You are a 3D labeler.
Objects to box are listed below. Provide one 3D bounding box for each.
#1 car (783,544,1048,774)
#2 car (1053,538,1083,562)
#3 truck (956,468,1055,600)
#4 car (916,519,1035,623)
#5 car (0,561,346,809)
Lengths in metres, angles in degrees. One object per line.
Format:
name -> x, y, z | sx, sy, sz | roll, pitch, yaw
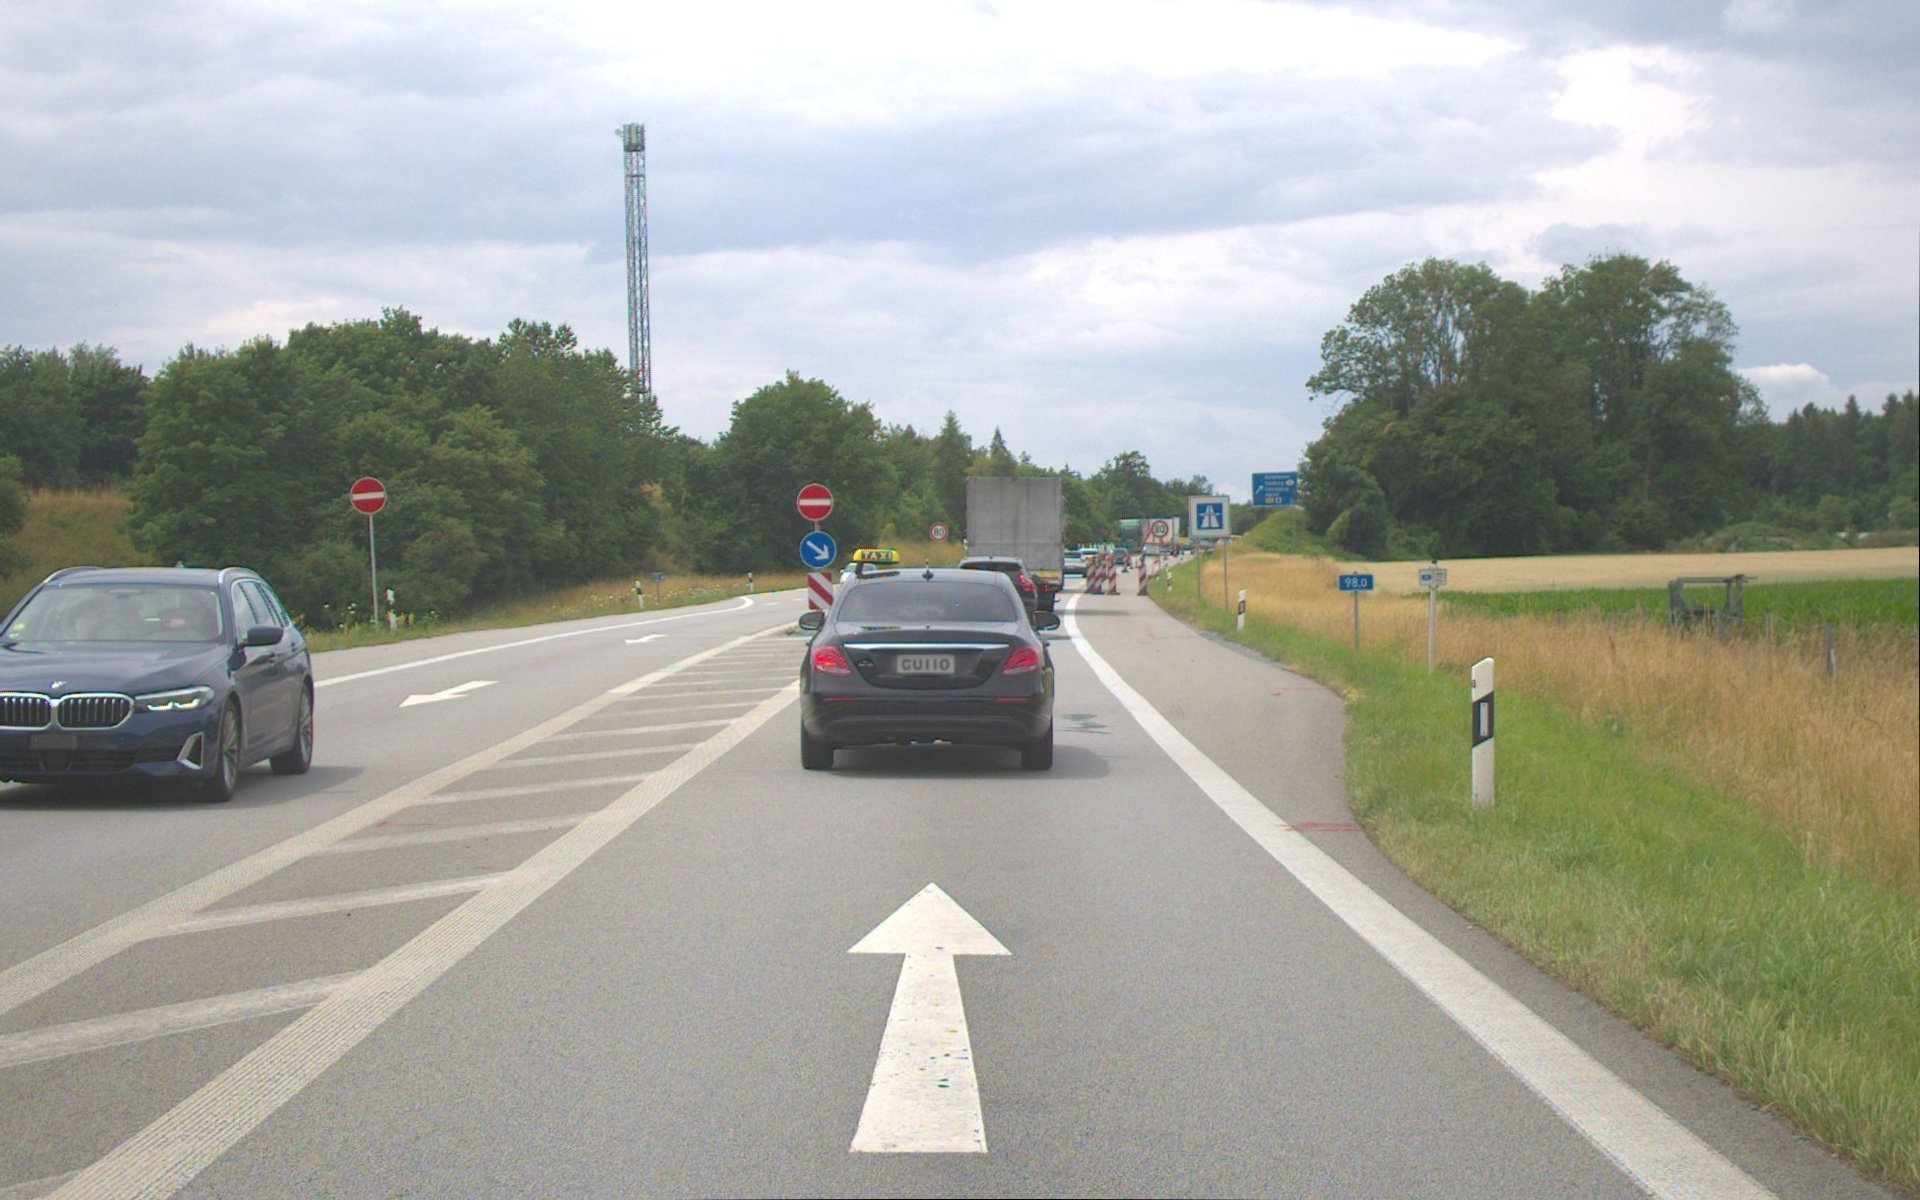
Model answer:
car -> -0.256, 0.393, 25.535 | 1.796, 1.554, 4.000 | 1, 0, 1
car -> 6.535, -3.008, 208.216 | 1.649, 1.391, 3.706 | 1, 0, -1
truck -> 1.282, -1.792, 94.783 | 2.587, 3.512, 4.812 | 1, 0, 2
car -> 0.281, -0.575, 69.360 | 1.993, 2.007, 4.001 | 1, 0, -5
car -> -5.522, 0.491, 23.245 | 1.857, 1.474, 5.198 | 1, 0, -1
